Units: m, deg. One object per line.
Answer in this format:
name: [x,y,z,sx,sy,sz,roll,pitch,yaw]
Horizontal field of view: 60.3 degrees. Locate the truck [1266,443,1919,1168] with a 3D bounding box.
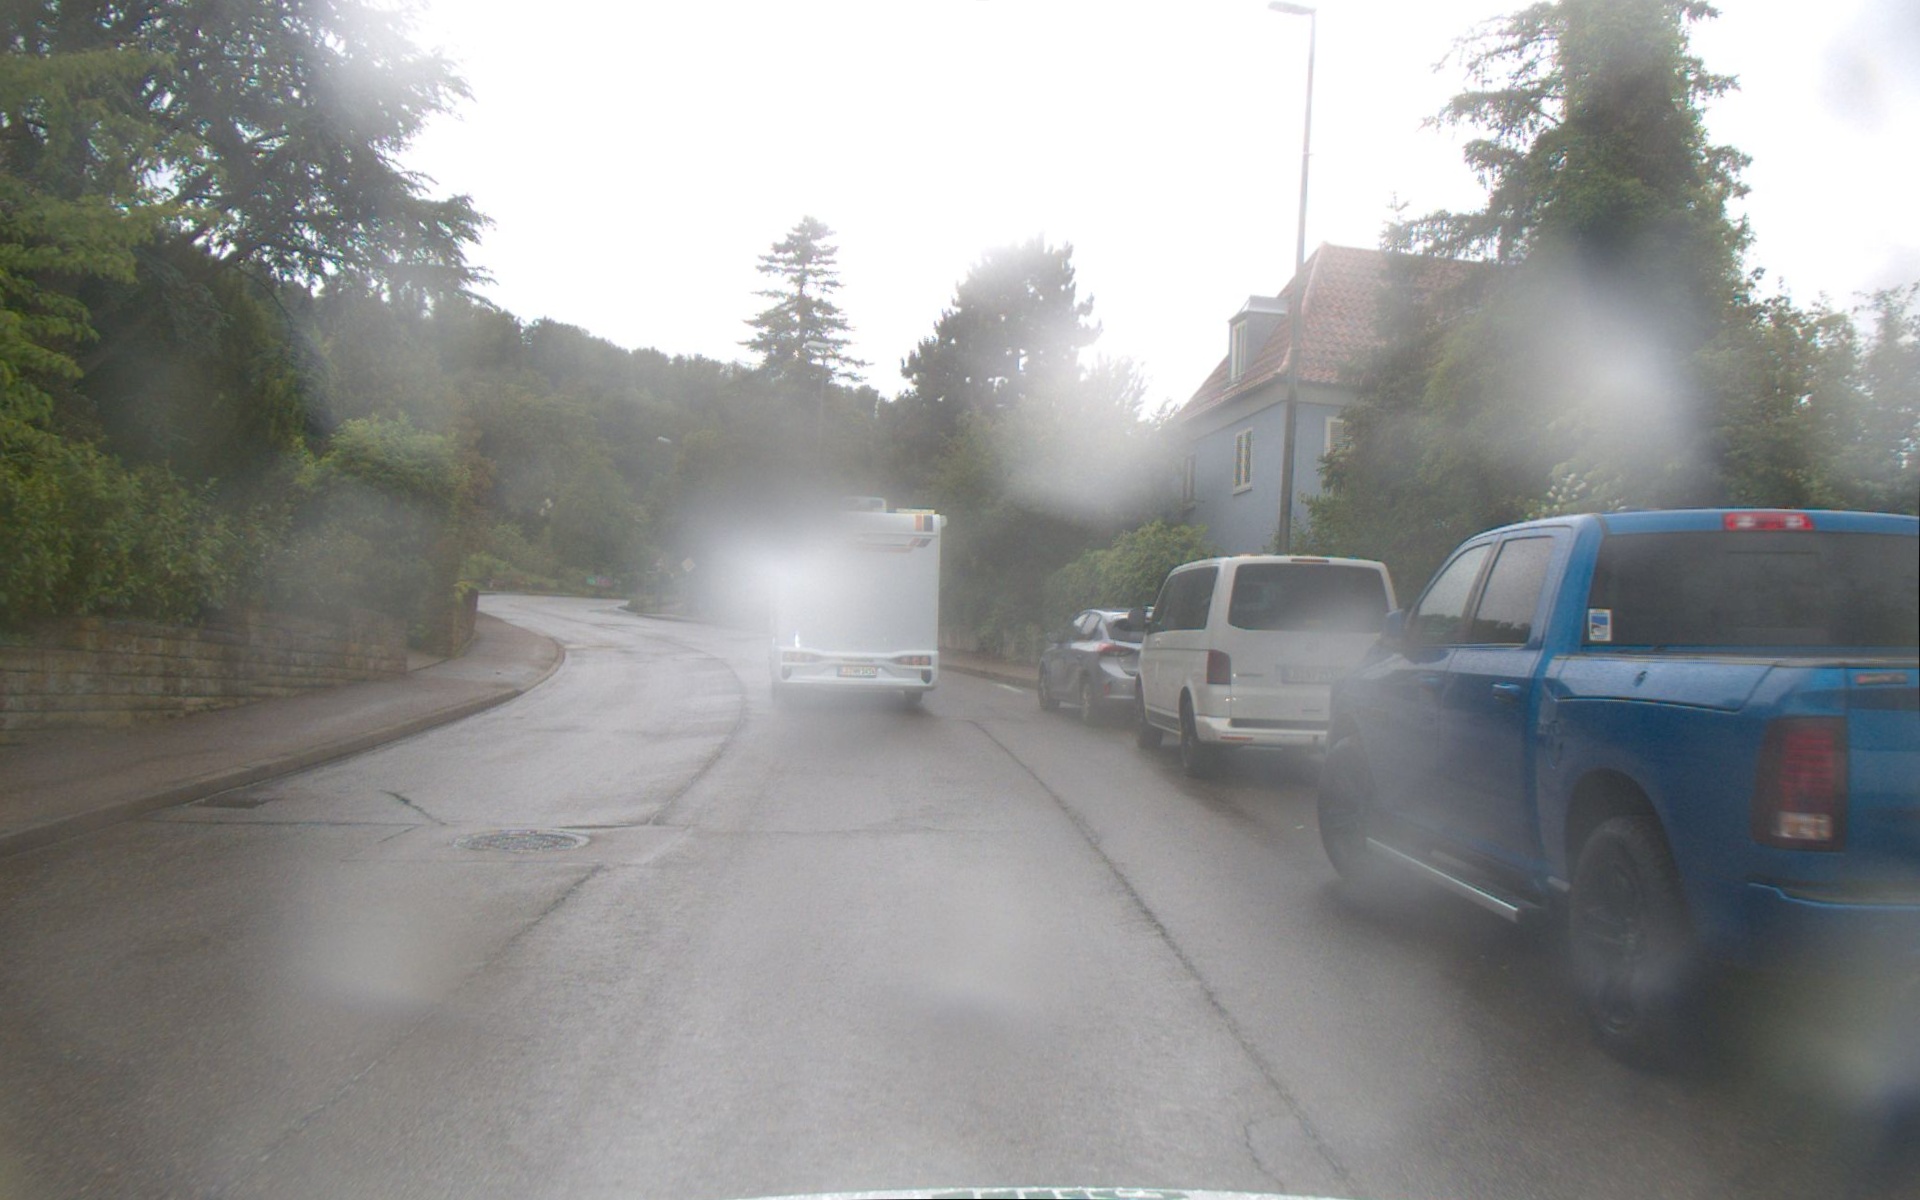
truck: [3.229,0.576,7.677,2.071,1.884,6.615,3,0,-2]

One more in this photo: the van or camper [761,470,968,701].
van or camper: [-1.597,-0.122,24.678,2.566,2.903,6.021,3,-2,-7]

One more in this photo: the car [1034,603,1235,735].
car: [2.213,0.845,22.028,1.654,1.482,4.050,2,0,-9]

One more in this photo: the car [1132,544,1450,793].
car: [2.961,0.546,15.974,1.823,1.954,5.077,2,0,-2]
